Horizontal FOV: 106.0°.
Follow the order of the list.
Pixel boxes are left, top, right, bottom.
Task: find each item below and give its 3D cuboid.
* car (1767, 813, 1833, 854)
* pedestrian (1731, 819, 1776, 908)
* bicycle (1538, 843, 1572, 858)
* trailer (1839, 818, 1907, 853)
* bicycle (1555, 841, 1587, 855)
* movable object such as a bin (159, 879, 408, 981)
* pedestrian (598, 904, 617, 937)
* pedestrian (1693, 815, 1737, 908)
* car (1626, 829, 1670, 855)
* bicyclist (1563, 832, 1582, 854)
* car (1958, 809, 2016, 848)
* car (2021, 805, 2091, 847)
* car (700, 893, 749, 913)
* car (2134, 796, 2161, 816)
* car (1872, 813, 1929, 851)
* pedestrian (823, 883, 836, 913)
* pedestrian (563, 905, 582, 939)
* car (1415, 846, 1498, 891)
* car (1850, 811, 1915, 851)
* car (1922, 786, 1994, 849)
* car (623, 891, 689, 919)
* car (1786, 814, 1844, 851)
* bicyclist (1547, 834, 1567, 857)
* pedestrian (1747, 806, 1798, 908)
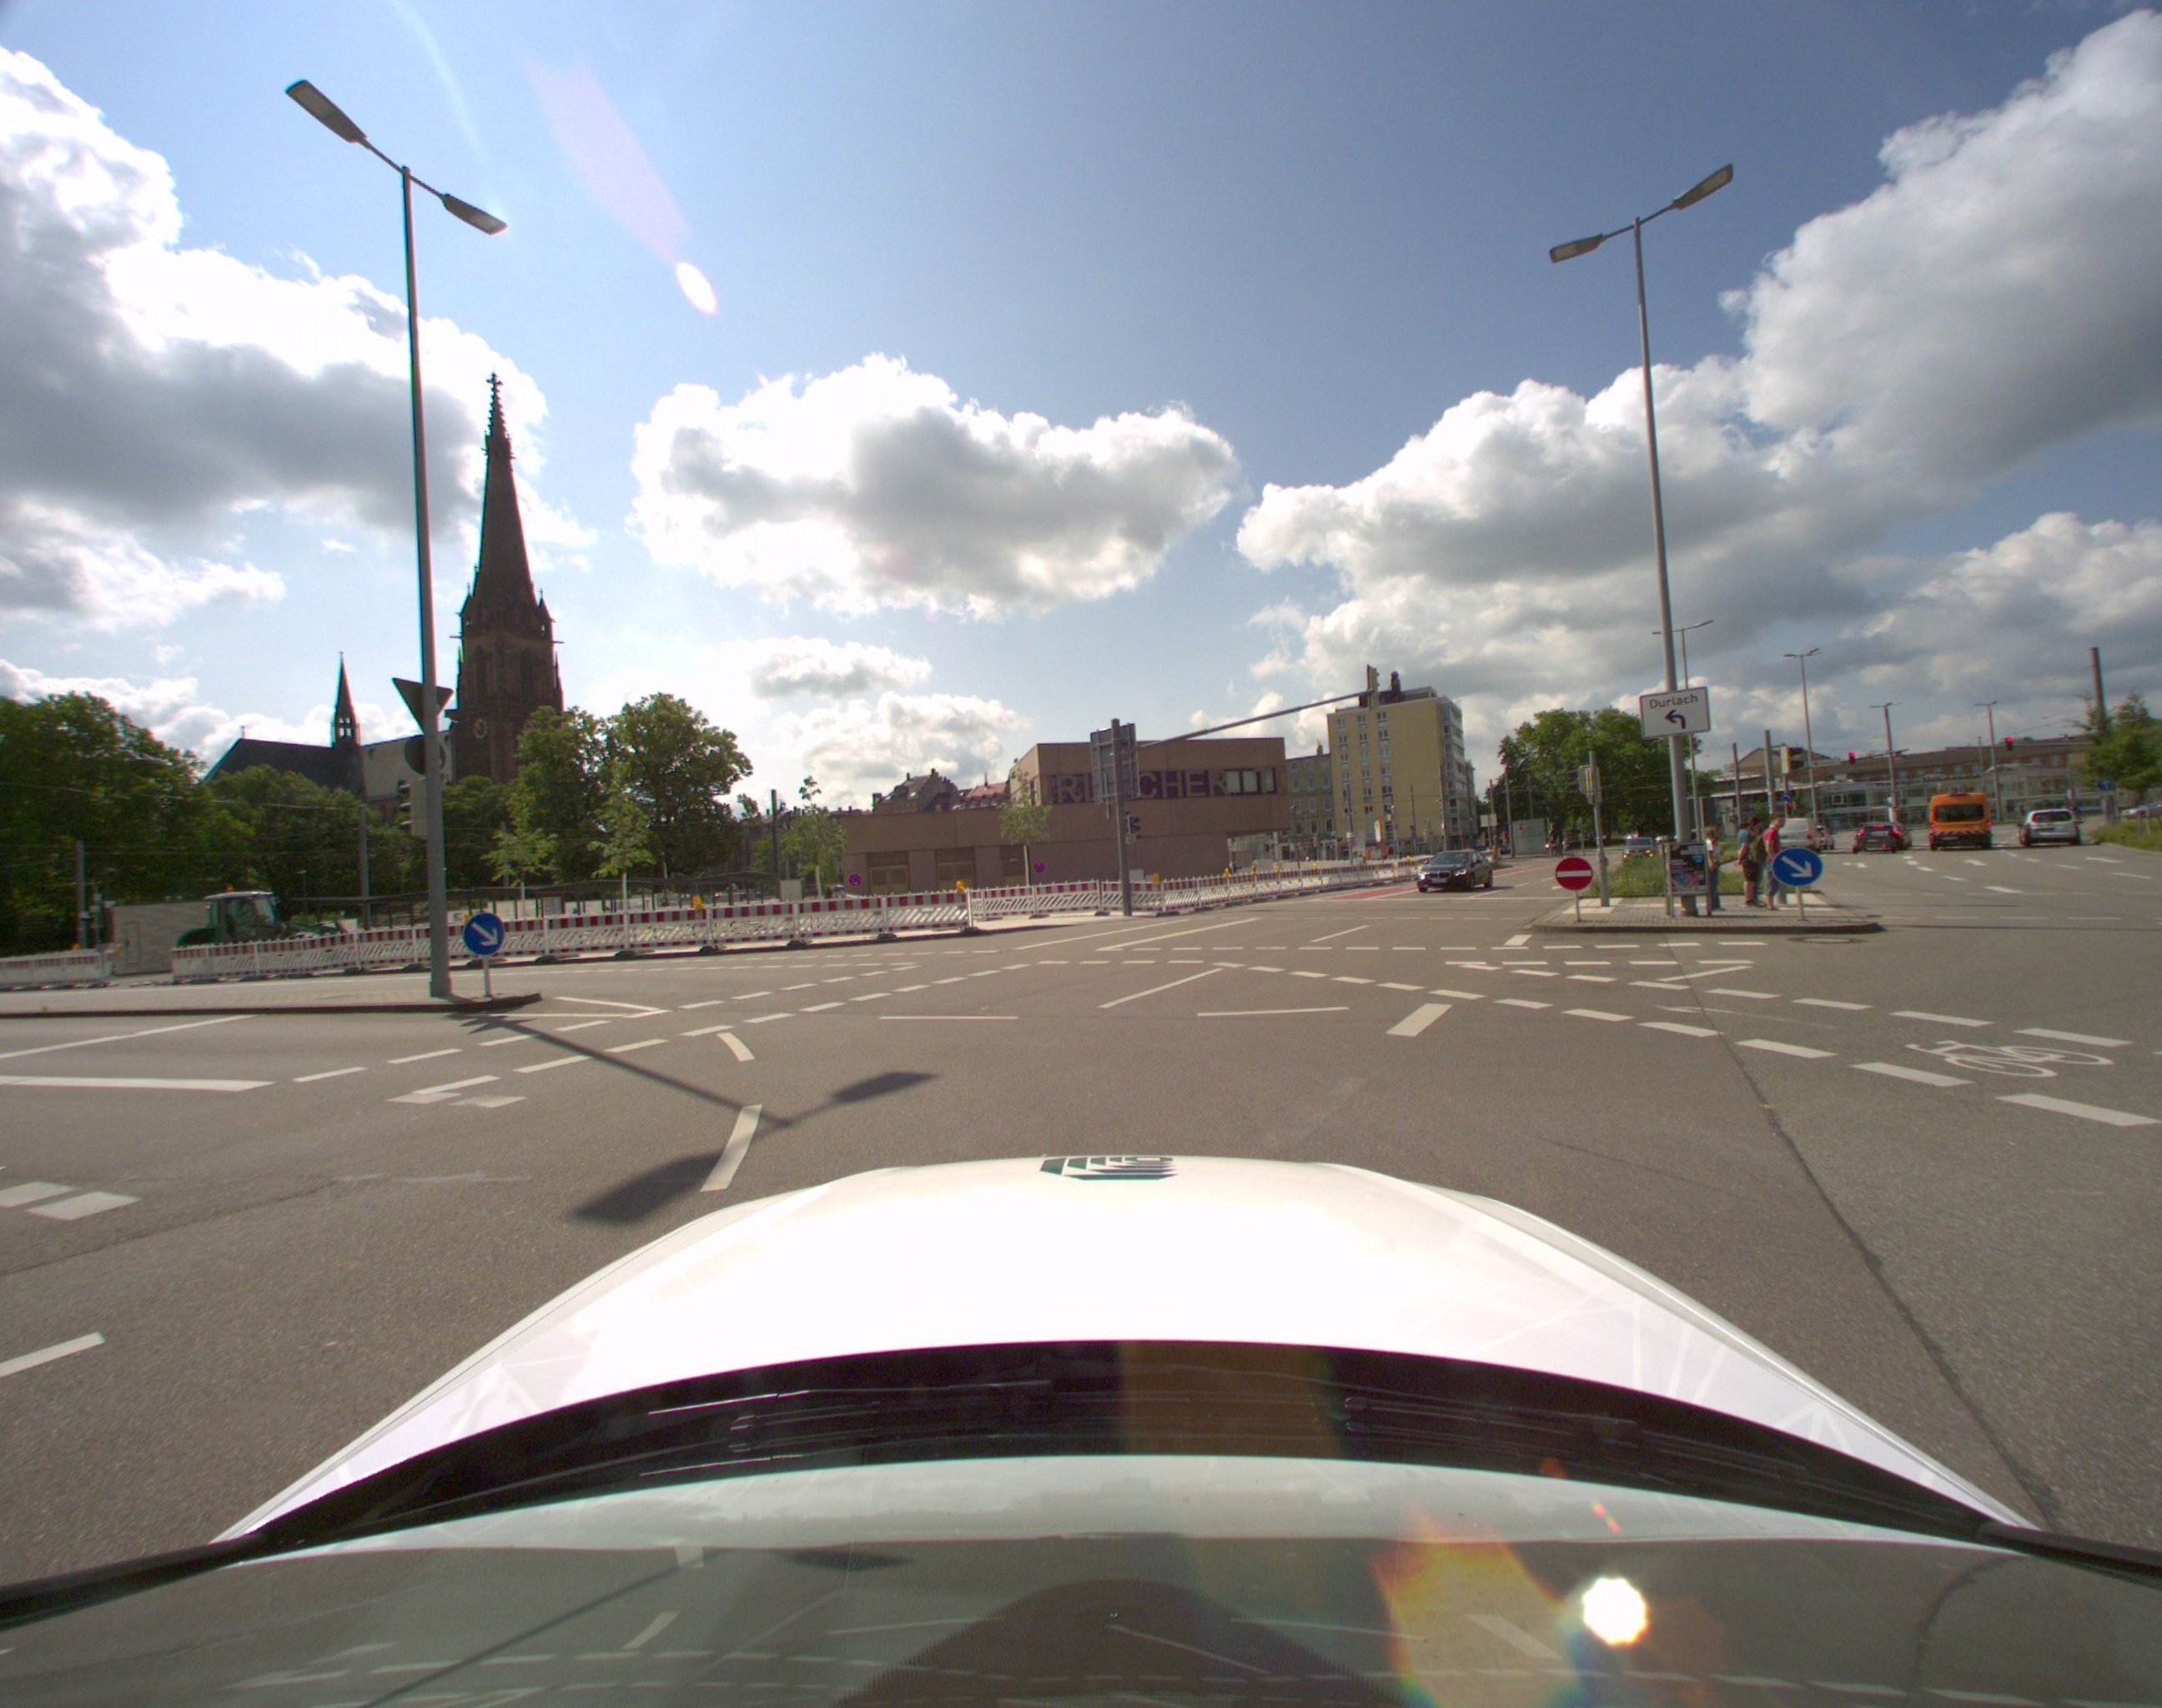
[{"bbox_3d":[39.129,-1.140,44.287,4.664,1.967,1.988,-3,-2,-42],"label":"car"},{"bbox_3d":[13.144,0.181,15.937,0.519,1.684,0.628,-5,-1,34],"label":"pedestrian"},{"bbox_3d":[41.303,-0.304,70.970,0.863,1.067,2.357,-2,-2,-44],"label":"bicycle"},{"bbox_3d":[39.699,-0.952,40.809,4.021,1.477,1.976,-3,-2,-40],"label":"trailer"},{"bbox_3d":[44.688,-0.537,74.300,0.848,1.067,2.357,-2,-2,-44],"label":"bicycle"},{"bbox_3d":[-27.047,2.491,27.936,5.547,2.885,2.271,-3,-2,-22],"label":"movable object such as a bin"},{"bbox_3d":[-30.056,4.193,51.707,0.762,2.014,0.746,-3,-2,-16],"label":"pedestrian"},{"bbox_3d":[12.073,0.141,15.520,0.519,1.733,0.628,-5,-1,34],"label":"pedestrian"},{"bbox_3d":[33.904,-0.737,48.627,1.646,1.480,4.087,-1,1,42],"label":"car"},{"bbox_3d":[44.781,-0.962,74.186,0.839,1.909,1.208,-2,-2,-45],"label":"bicyclist"},{"bbox_3d":[50.381,-1.435,45.289,4.664,1.939,1.974,-3,-2,-42],"label":"car"},{"bbox_3d":[47.019,-1.366,39.298,4.021,1.795,1.976,-3,-2,-40],"label":"car"},{"bbox_3d":[-38.336,5.231,87.630,4.350,1.793,1.780,-4,-1,-5],"label":"car"},{"bbox_3d":[95.847,-4.326,71.316,3.949,1.640,1.739,-5,-2,28],"label":"car"},{"bbox_3d":[48.194,-1.306,47.878,4.664,1.939,1.974,-3,-2,-42],"label":"car"},{"bbox_3d":[-17.312,3.006,56.146,0.701,2.014,0.553,-3,-2,-13],"label":"pedestrian"},{"bbox_3d":[-32.209,4.296,51.565,0.749,2.014,0.758,-3,-2,-17],"label":"pedestrian"},{"bbox_3d":[13.563,0.502,29.287,1.774,1.388,4.254,-4,-1,37],"label":"car"},{"bbox_3d":[42.543,-1.233,43.204,4.021,1.826,1.976,-3,-2,-40],"label":"car"},{"bbox_3d":[43.240,-1.794,40.135,4.664,2.781,2.111,-3,-2,-42],"label":"car"},{"bbox_3d":[-33.481,4.003,64.254,4.173,1.882,1.794,-3,-2,-14],"label":"car"},{"bbox_3d":[44.314,-1.324,49.136,4.664,1.939,1.974,-3,-2,-42],"label":"car"},{"bbox_3d":[41.384,-0.734,70.858,0.863,1.909,1.208,-2,-2,-45],"label":"bicyclist"},{"bbox_3d":[12.211,0.049,14.400,0.519,1.733,0.628,-5,-1,34],"label":"pedestrian"}]
